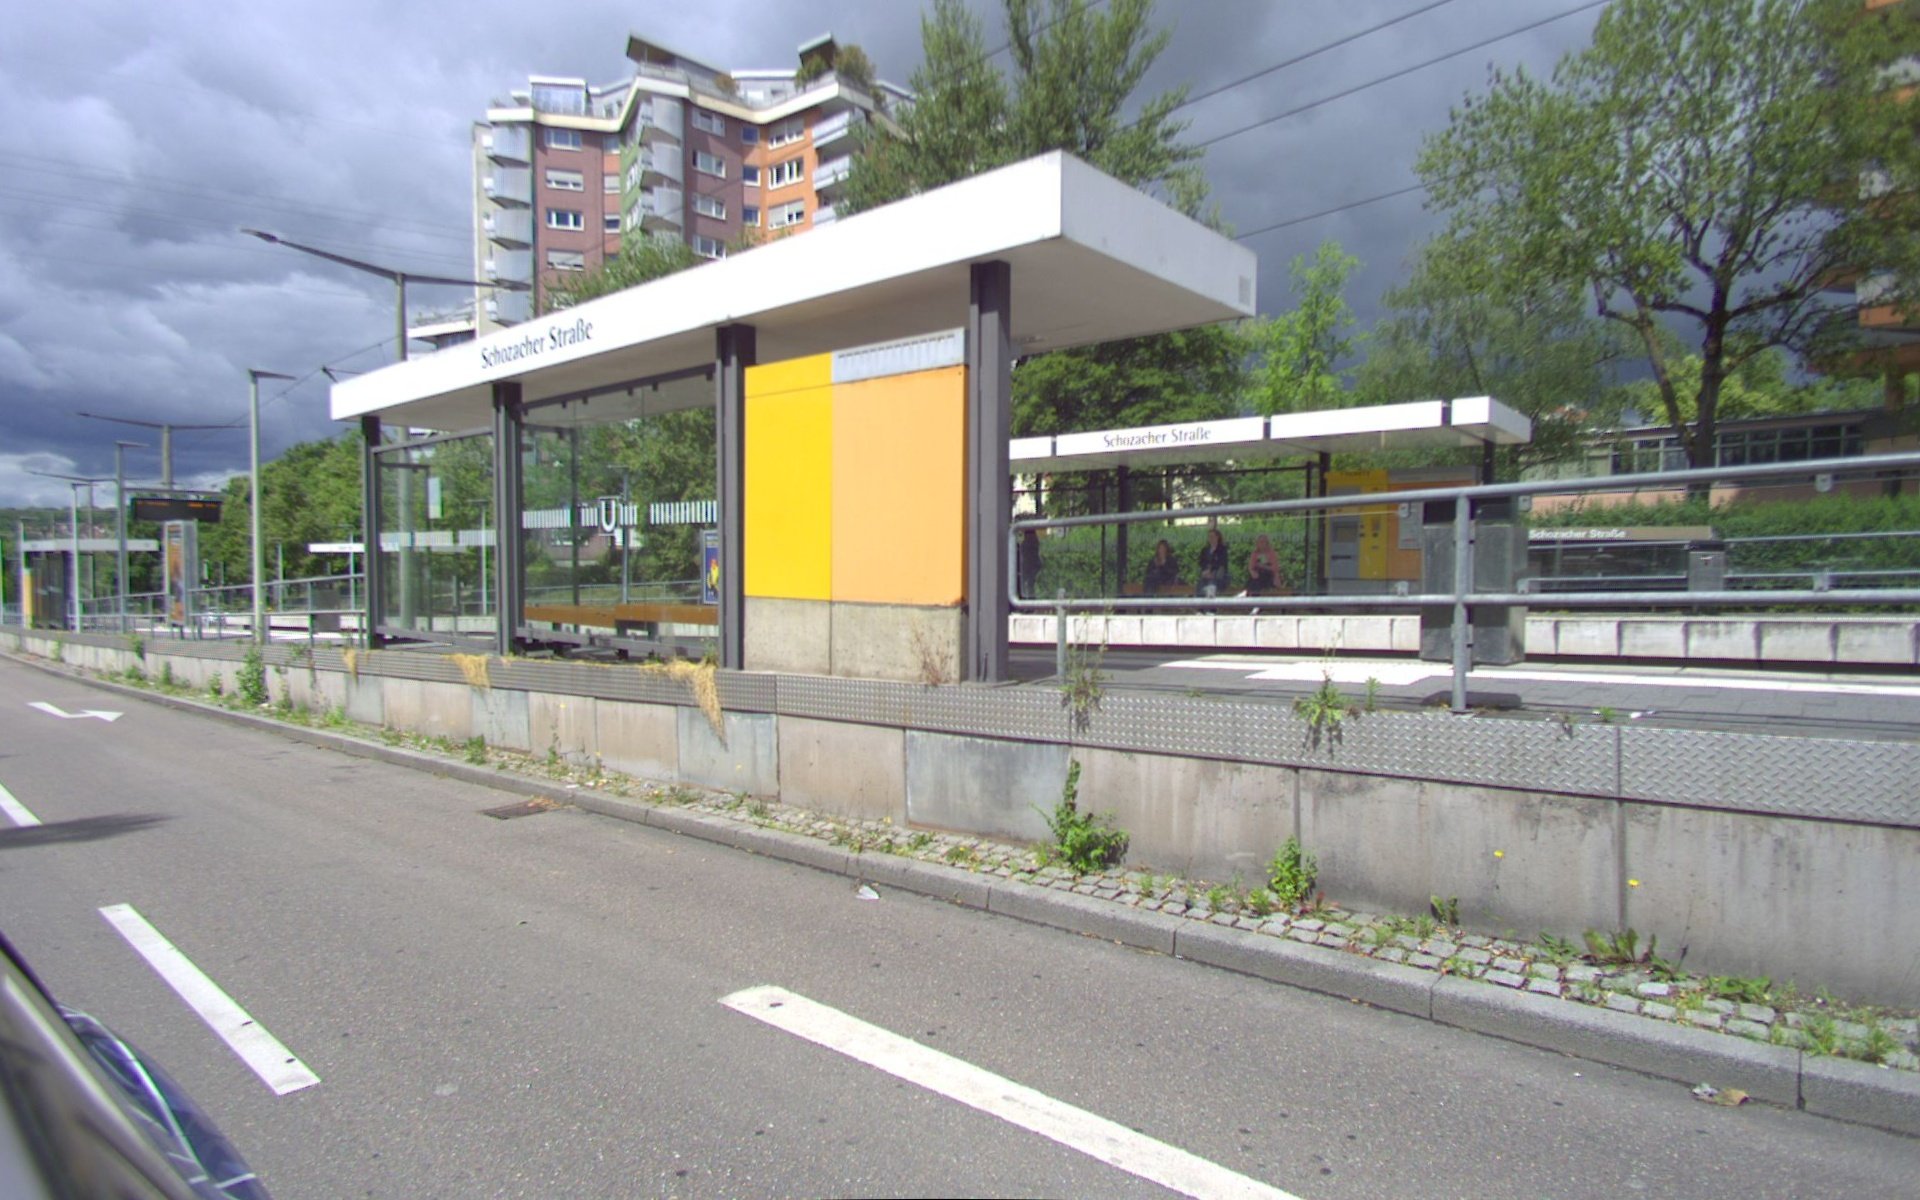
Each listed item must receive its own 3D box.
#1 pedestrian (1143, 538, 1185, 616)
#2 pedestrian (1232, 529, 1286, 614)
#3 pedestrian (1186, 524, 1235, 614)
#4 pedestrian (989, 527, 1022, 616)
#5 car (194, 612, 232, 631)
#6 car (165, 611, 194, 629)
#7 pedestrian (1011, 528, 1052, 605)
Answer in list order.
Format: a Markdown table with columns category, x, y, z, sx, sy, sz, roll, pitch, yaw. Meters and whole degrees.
| category | x | y | z | sx | sy | sz | roll | pitch | yaw |
| --- | --- | --- | --- | --- | --- | --- | --- | --- | --- |
| pedestrian | 3.343 | -0.371 | 16.605 | 0.541 | 1.246 | 0.516 | -1 | 0 | 29 |
| pedestrian | 4.550 | -0.418 | 15.390 | 0.517 | 1.246 | 0.734 | -1 | -1 | 41 |
| pedestrian | 3.949 | -0.479 | 15.953 | 0.506 | 1.379 | 0.637 | -1 | -1 | 41 |
| pedestrian | 0.865 | -0.525 | 19.146 | 0.558 | 1.657 | 0.520 | -1 | 0 | 9 |
| car | -59.016 | 1.690 | 79.891 | 3.999 | 1.429 | 1.637 | -1 | 0 | 42 |
| car | -70.992 | 1.824 | 92.034 | 1.635 | 1.524 | 3.740 | -1 | 0 | -45 |
| pedestrian | 1.311 | -0.606 | 18.516 | 0.520 | 1.390 | 0.537 | 2 | 1 | 32 |
